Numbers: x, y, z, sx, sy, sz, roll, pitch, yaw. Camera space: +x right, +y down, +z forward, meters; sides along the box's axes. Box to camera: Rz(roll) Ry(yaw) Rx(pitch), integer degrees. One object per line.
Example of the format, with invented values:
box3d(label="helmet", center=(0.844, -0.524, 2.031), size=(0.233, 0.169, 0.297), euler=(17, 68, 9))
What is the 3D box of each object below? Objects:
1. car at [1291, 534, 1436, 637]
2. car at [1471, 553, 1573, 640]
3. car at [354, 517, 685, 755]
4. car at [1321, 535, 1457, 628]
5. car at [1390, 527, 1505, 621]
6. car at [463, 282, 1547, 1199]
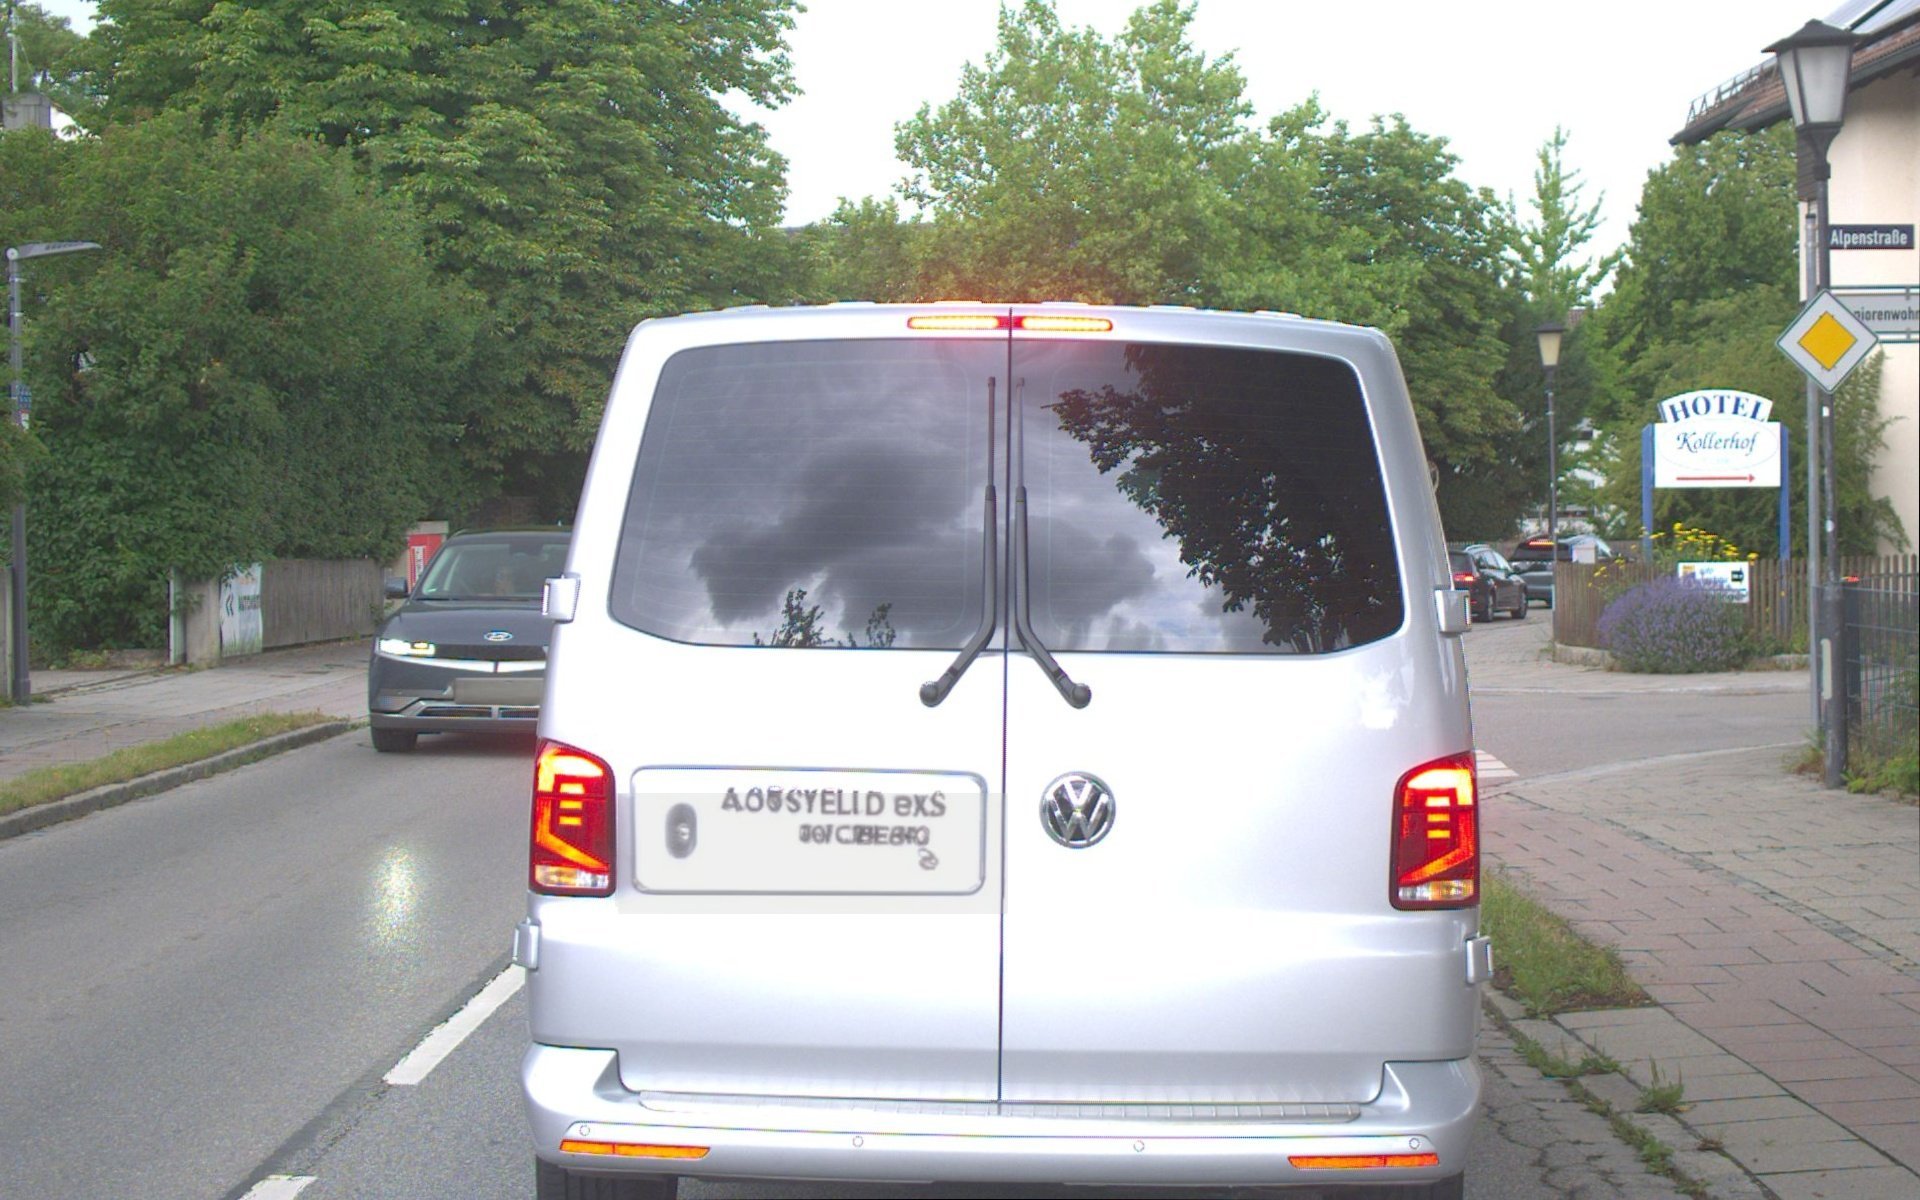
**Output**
box3d(label="car", center=(6.320, -0.256, 53.528), size=(1.882, 1.530, 3.919), euler=(0, 1, 12))
box3d(label="car", center=(12.270, -0.105, 74.917), size=(1.882, 1.819, 3.918), euler=(0, 1, 14))
box3d(label="car", center=(-3.130, 0.204, 25.249), size=(1.930, 1.569, 4.312), euler=(1, 1, -1))
box3d(label="car", center=(7.447, -0.342, 59.377), size=(1.882, 1.530, 3.918), euler=(0, 1, 14))
box3d(label="car", center=(9.451, -0.522, 66.405), size=(1.882, 1.742, 4.078), euler=(0, 1, 12))
box3d(label="car", center=(0.100, 0.383, 7.963), size=(1.881, 1.934, 3.921), euler=(0, 1, 1))
